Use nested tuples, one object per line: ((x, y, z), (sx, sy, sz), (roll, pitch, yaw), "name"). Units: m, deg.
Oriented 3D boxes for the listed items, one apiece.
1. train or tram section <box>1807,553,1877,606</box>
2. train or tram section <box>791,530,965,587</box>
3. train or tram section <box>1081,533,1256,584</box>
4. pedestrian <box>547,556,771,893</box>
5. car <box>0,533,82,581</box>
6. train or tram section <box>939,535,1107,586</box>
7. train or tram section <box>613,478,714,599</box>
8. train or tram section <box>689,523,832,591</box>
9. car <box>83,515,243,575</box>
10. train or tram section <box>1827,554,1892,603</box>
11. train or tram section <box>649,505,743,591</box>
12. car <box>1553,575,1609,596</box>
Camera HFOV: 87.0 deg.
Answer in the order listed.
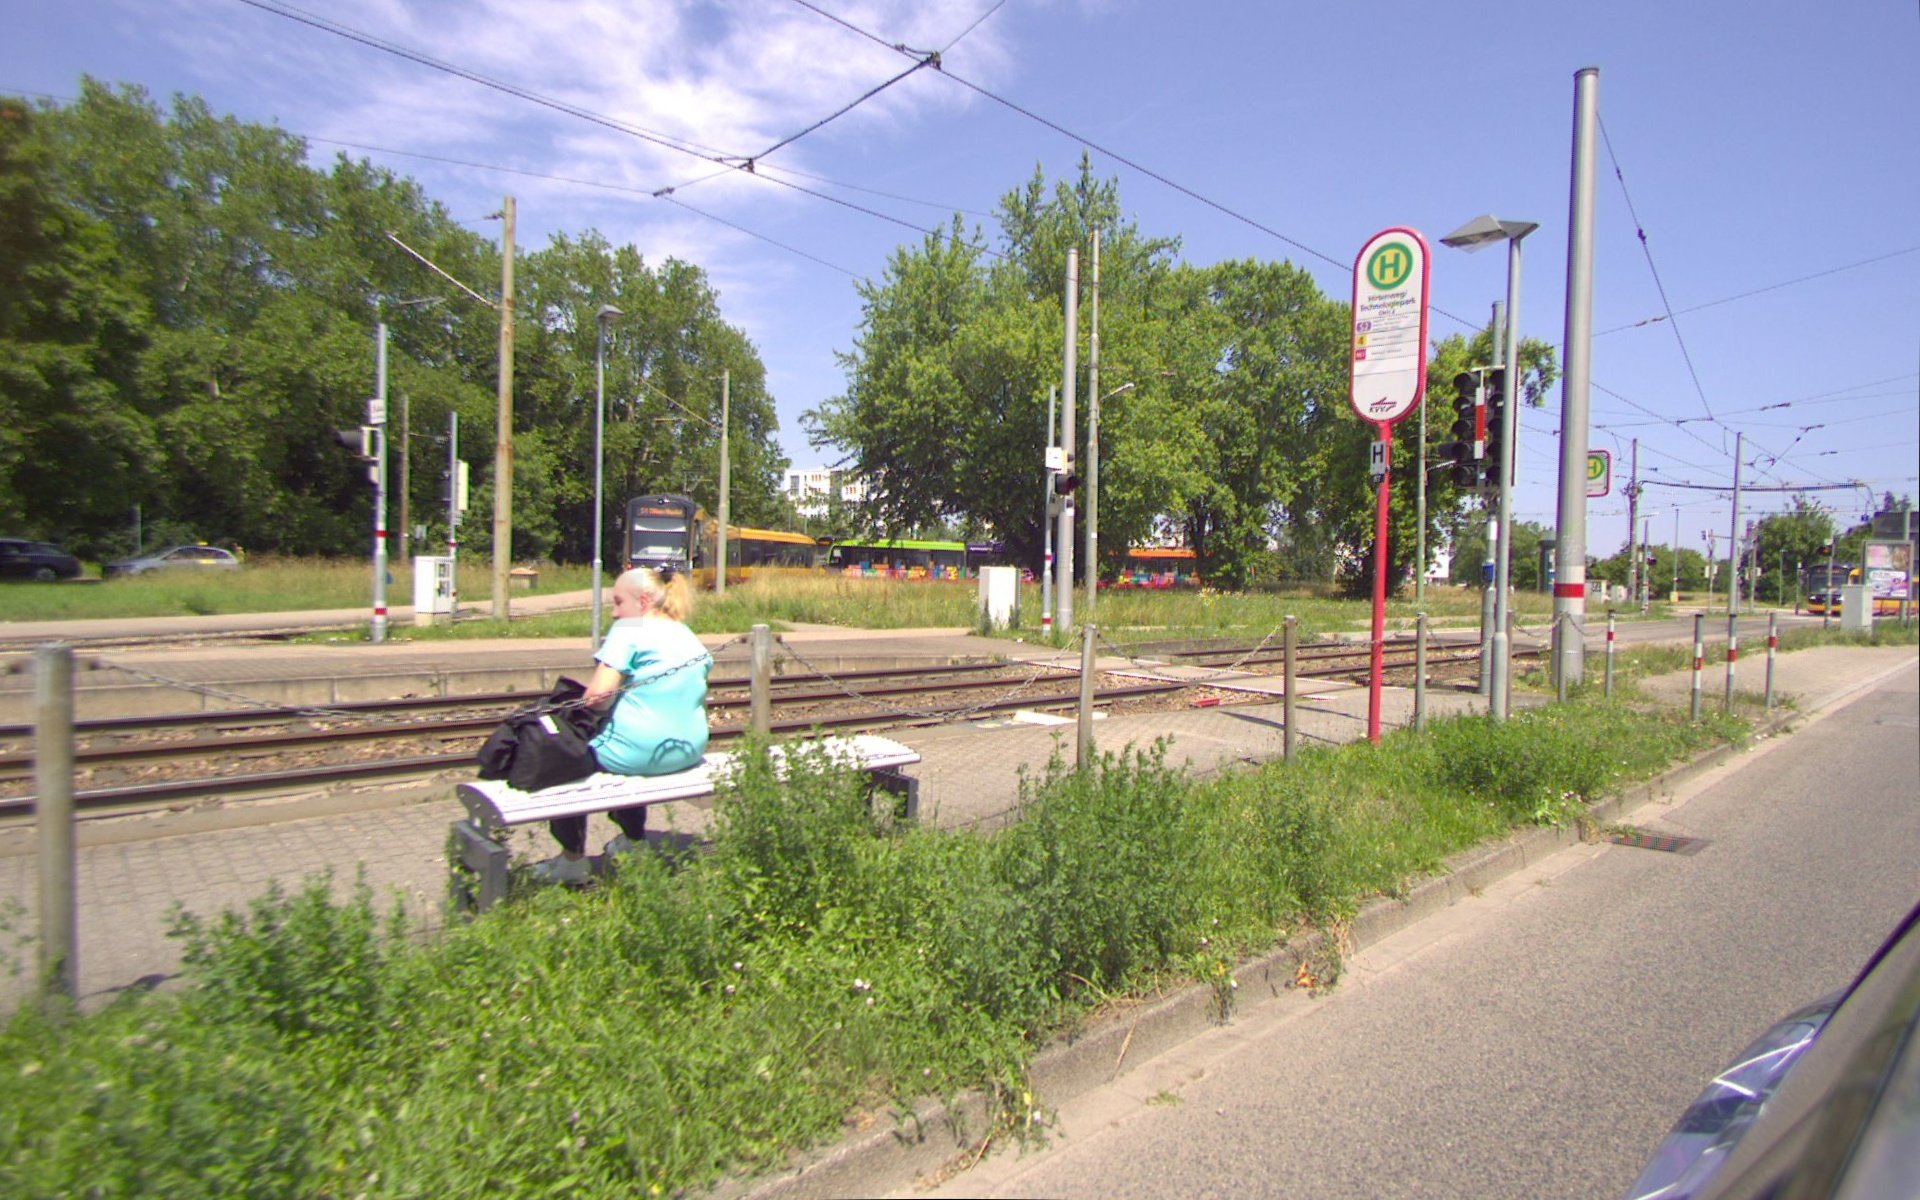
((58.896, -1.428, 67.527), (7.135, 3.363, 2.523), (-1, 3, -41), "train or tram section")
((-5.516, -2.843, 71.362), (13.018, 3.663, 2.713), (0, 3, -41), "train or tram section")
((16.059, -3.157, 78.188), (13.066, 3.694, 2.702), (0, 1, 16), "train or tram section")
((-1.150, 0.413, 3.867), (0.611, 1.143, 0.610), (-1, 1, -43), "pedestrian")
((-31.772, -1.429, 32.949), (1.688, 1.558, 4.575), (3, 2, 26), "car")
((4.907, -3.000, 77.717), (12.975, 3.694, 2.721), (-1, 1, -22), "train or tram section")
((-10.668, -2.039, 37.540), (2.659, 3.694, 13.213), (-1, 1, -12), "train or tram section")
((-11.673, -2.552, 61.387), (2.678, 3.618, 13.185), (2, 2, 16), "train or tram section")
((-29.398, -1.992, 37.489), (1.939, 2.038, 4.277), (2, 2, 26), "car")
((64.268, -1.574, 72.283), (7.135, 3.363, 2.523), (-1, 3, -41), "train or tram section")
((-12.792, -2.381, 50.237), (2.661, 3.694, 13.270), (0, 1, -7), "train or tram section")
((49.306, -1.192, 80.399), (3.917, 1.638, 1.857), (-1, 1, -23), "car")
